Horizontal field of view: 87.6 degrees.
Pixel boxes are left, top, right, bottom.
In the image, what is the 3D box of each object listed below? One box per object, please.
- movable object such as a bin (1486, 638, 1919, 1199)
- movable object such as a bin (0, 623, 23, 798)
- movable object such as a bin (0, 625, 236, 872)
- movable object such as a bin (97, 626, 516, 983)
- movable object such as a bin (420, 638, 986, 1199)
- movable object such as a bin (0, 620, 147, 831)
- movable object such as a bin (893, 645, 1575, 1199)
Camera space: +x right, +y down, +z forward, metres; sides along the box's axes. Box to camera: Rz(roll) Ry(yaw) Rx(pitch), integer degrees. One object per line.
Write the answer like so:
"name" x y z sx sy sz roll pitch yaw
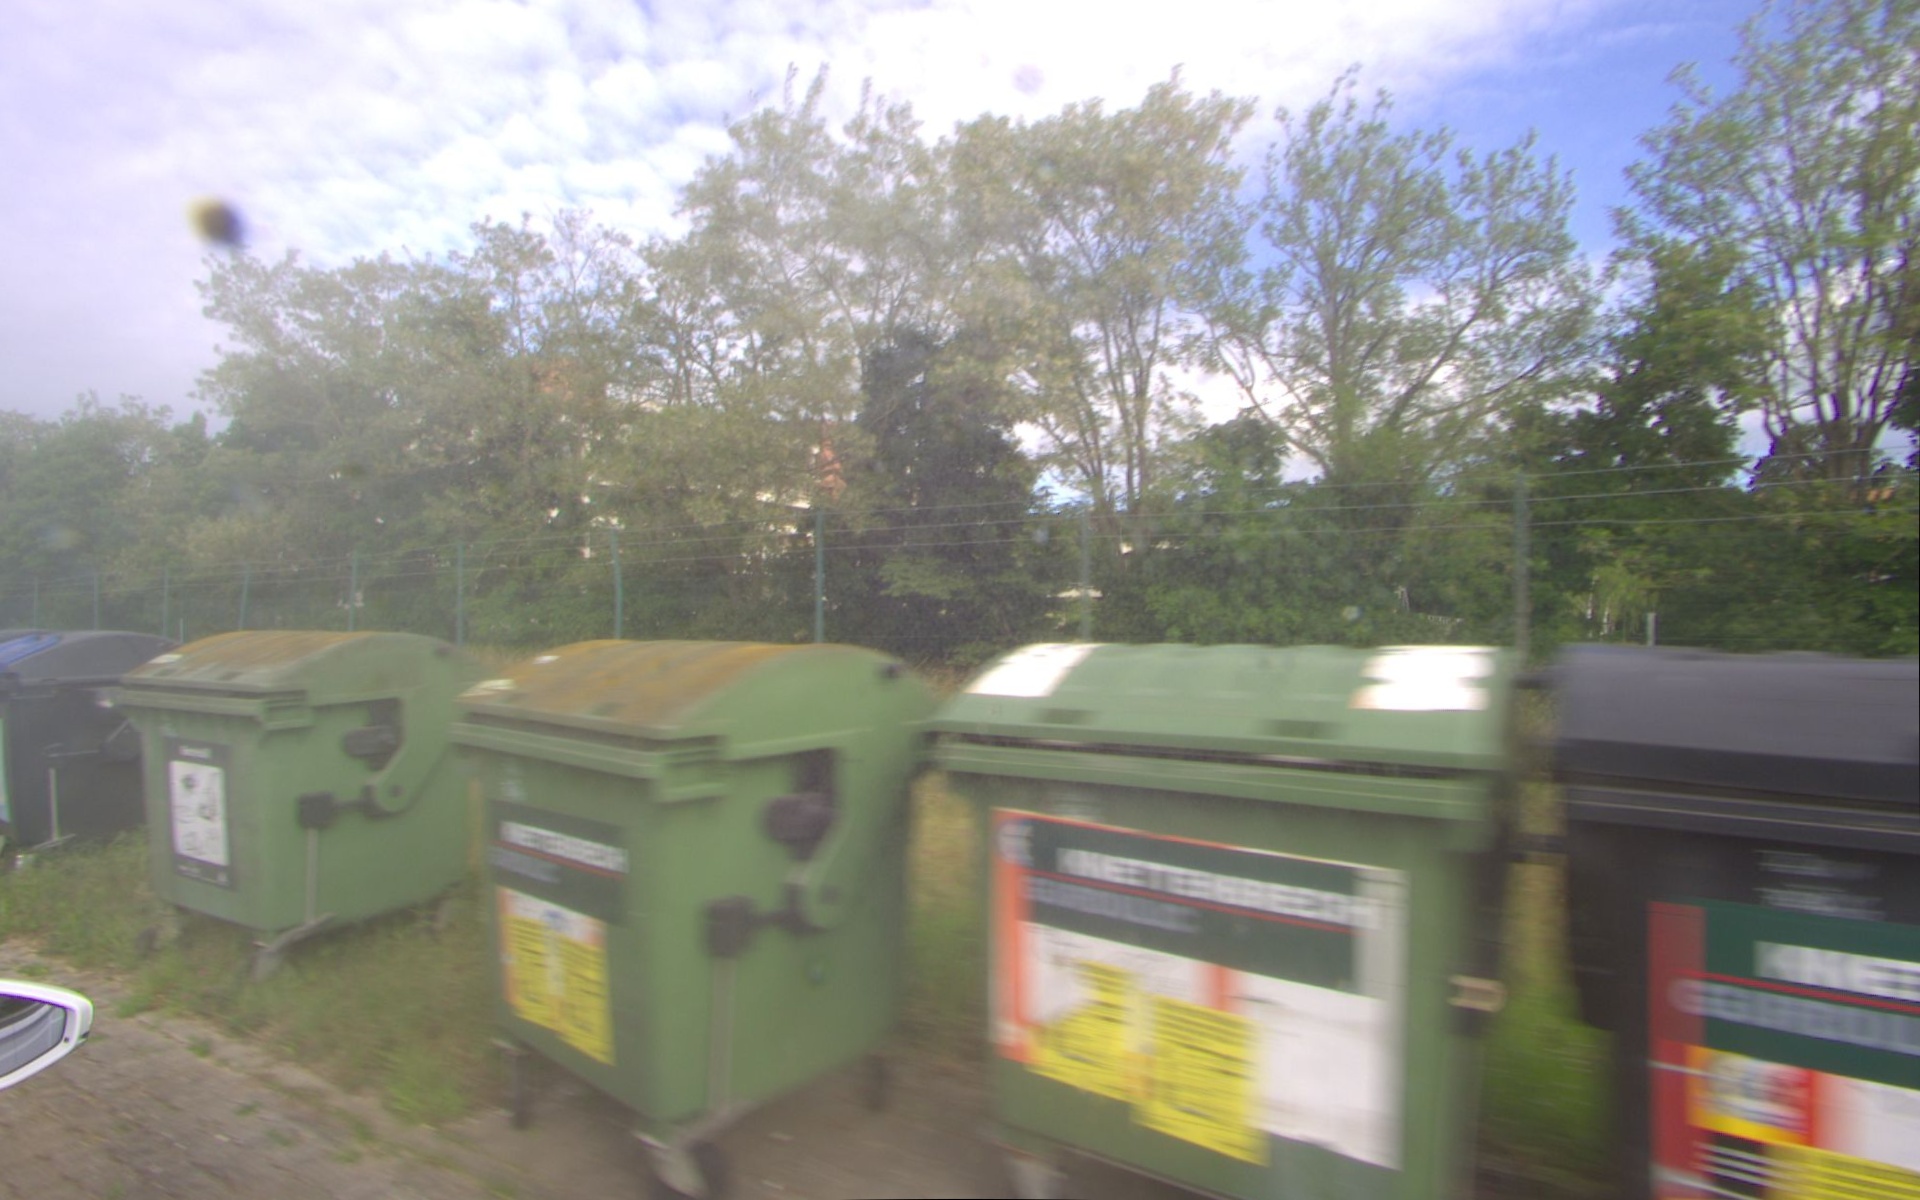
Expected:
"movable object such as a bin" 1.818 0.799 1.844 1.379 1.453 1.066 -1 -2 35
"movable object such as a bin" -8.172 0.857 7.780 1.308 1.339 1.119 0 0 38
"movable object such as a bin" -5.502 0.839 6.315 1.475 1.342 1.150 -1 -2 38
"movable object such as a bin" -2.930 0.781 4.532 1.360 1.312 1.121 -1 -2 31
"movable object such as a bin" -0.799 0.828 3.053 1.370 1.416 1.117 -1 -2 43
"movable object such as a bin" -6.776 0.848 7.218 1.475 1.391 1.119 -1 -2 38
"movable object such as a bin" 0.694 0.834 2.493 1.366 1.424 1.066 -1 -2 35
